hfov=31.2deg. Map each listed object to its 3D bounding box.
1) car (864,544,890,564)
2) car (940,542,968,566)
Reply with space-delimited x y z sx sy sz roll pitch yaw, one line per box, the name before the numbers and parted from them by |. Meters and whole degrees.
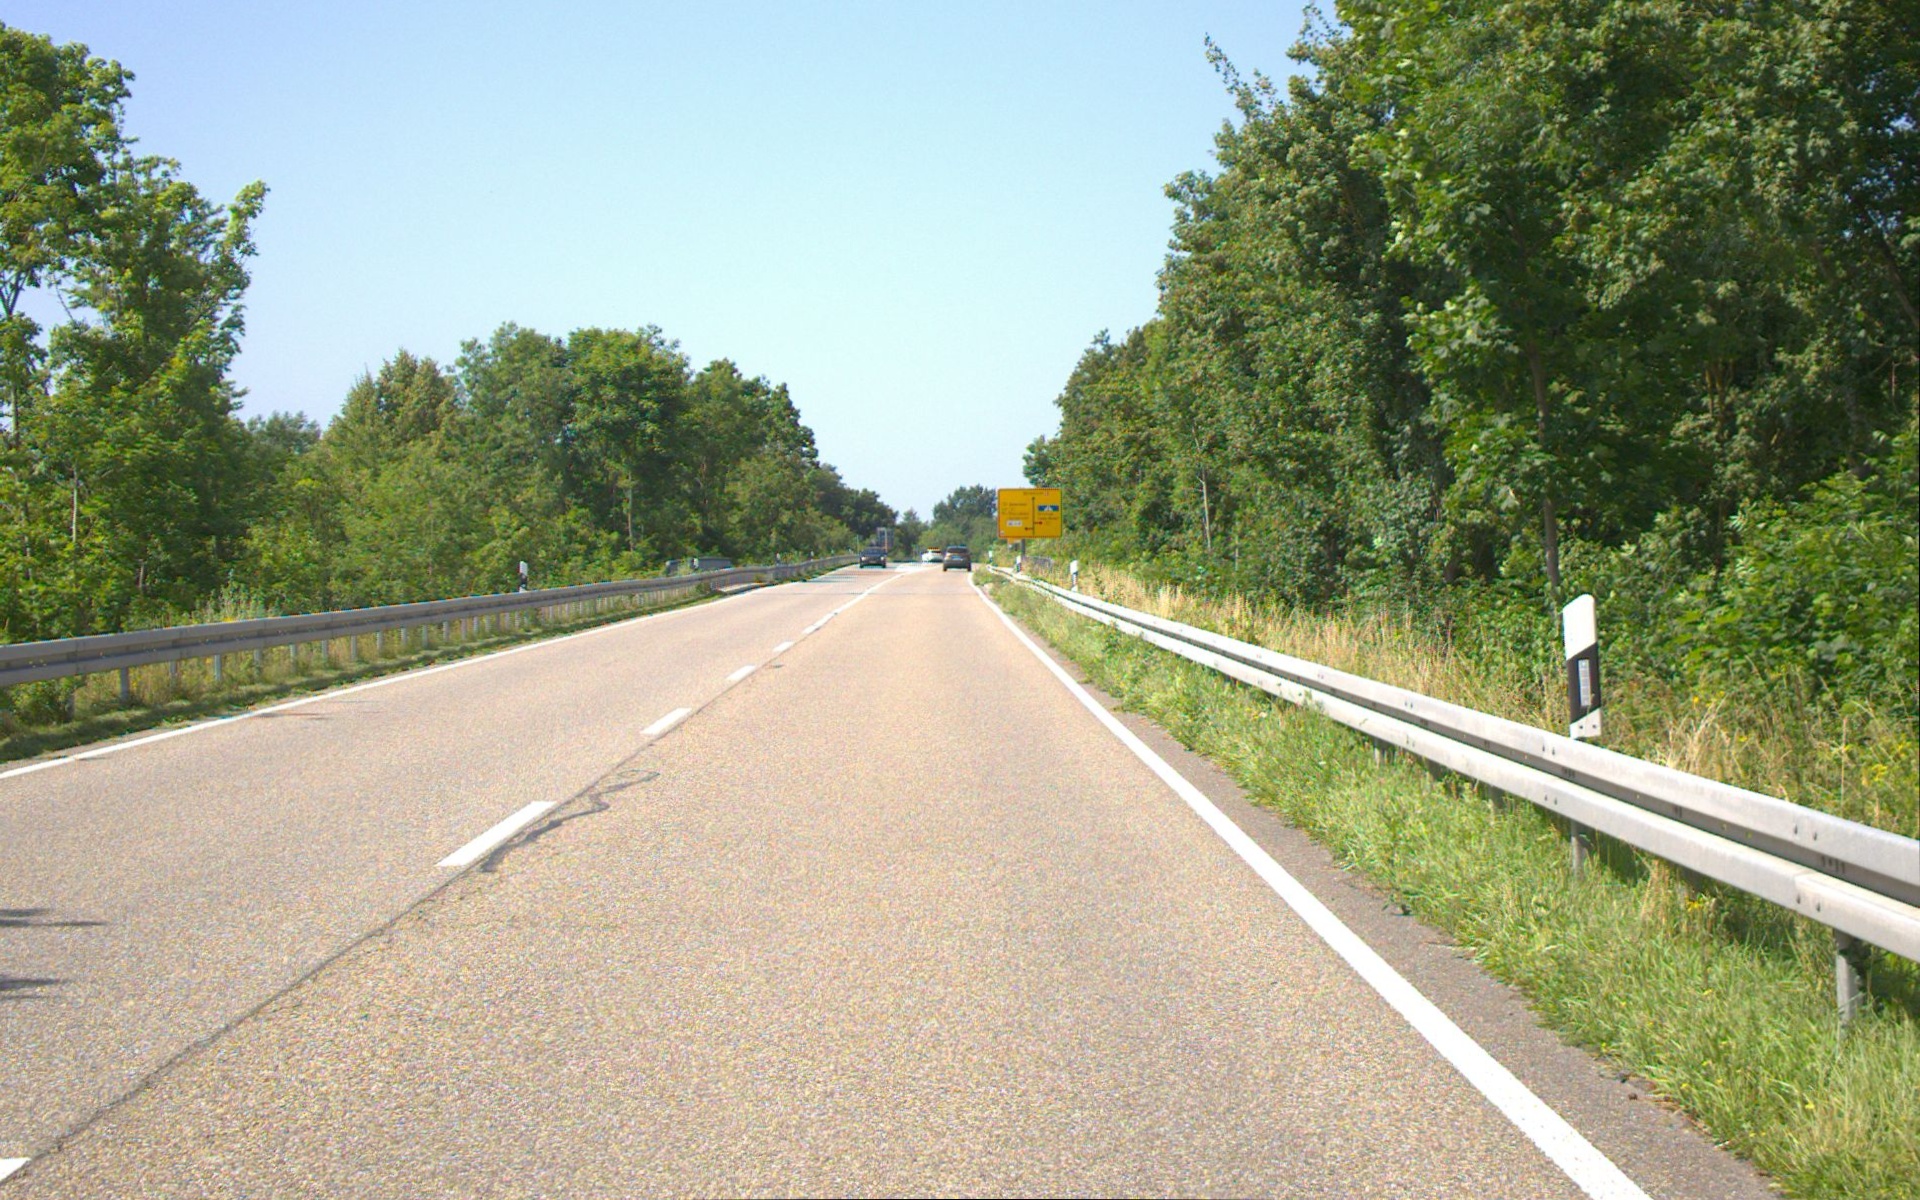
car | -5.944 -3.300 247.271 1.746 1.420 4.677 0 1 0
car | -0.372 -2.914 217.493 1.741 1.465 3.692 0 1 1
